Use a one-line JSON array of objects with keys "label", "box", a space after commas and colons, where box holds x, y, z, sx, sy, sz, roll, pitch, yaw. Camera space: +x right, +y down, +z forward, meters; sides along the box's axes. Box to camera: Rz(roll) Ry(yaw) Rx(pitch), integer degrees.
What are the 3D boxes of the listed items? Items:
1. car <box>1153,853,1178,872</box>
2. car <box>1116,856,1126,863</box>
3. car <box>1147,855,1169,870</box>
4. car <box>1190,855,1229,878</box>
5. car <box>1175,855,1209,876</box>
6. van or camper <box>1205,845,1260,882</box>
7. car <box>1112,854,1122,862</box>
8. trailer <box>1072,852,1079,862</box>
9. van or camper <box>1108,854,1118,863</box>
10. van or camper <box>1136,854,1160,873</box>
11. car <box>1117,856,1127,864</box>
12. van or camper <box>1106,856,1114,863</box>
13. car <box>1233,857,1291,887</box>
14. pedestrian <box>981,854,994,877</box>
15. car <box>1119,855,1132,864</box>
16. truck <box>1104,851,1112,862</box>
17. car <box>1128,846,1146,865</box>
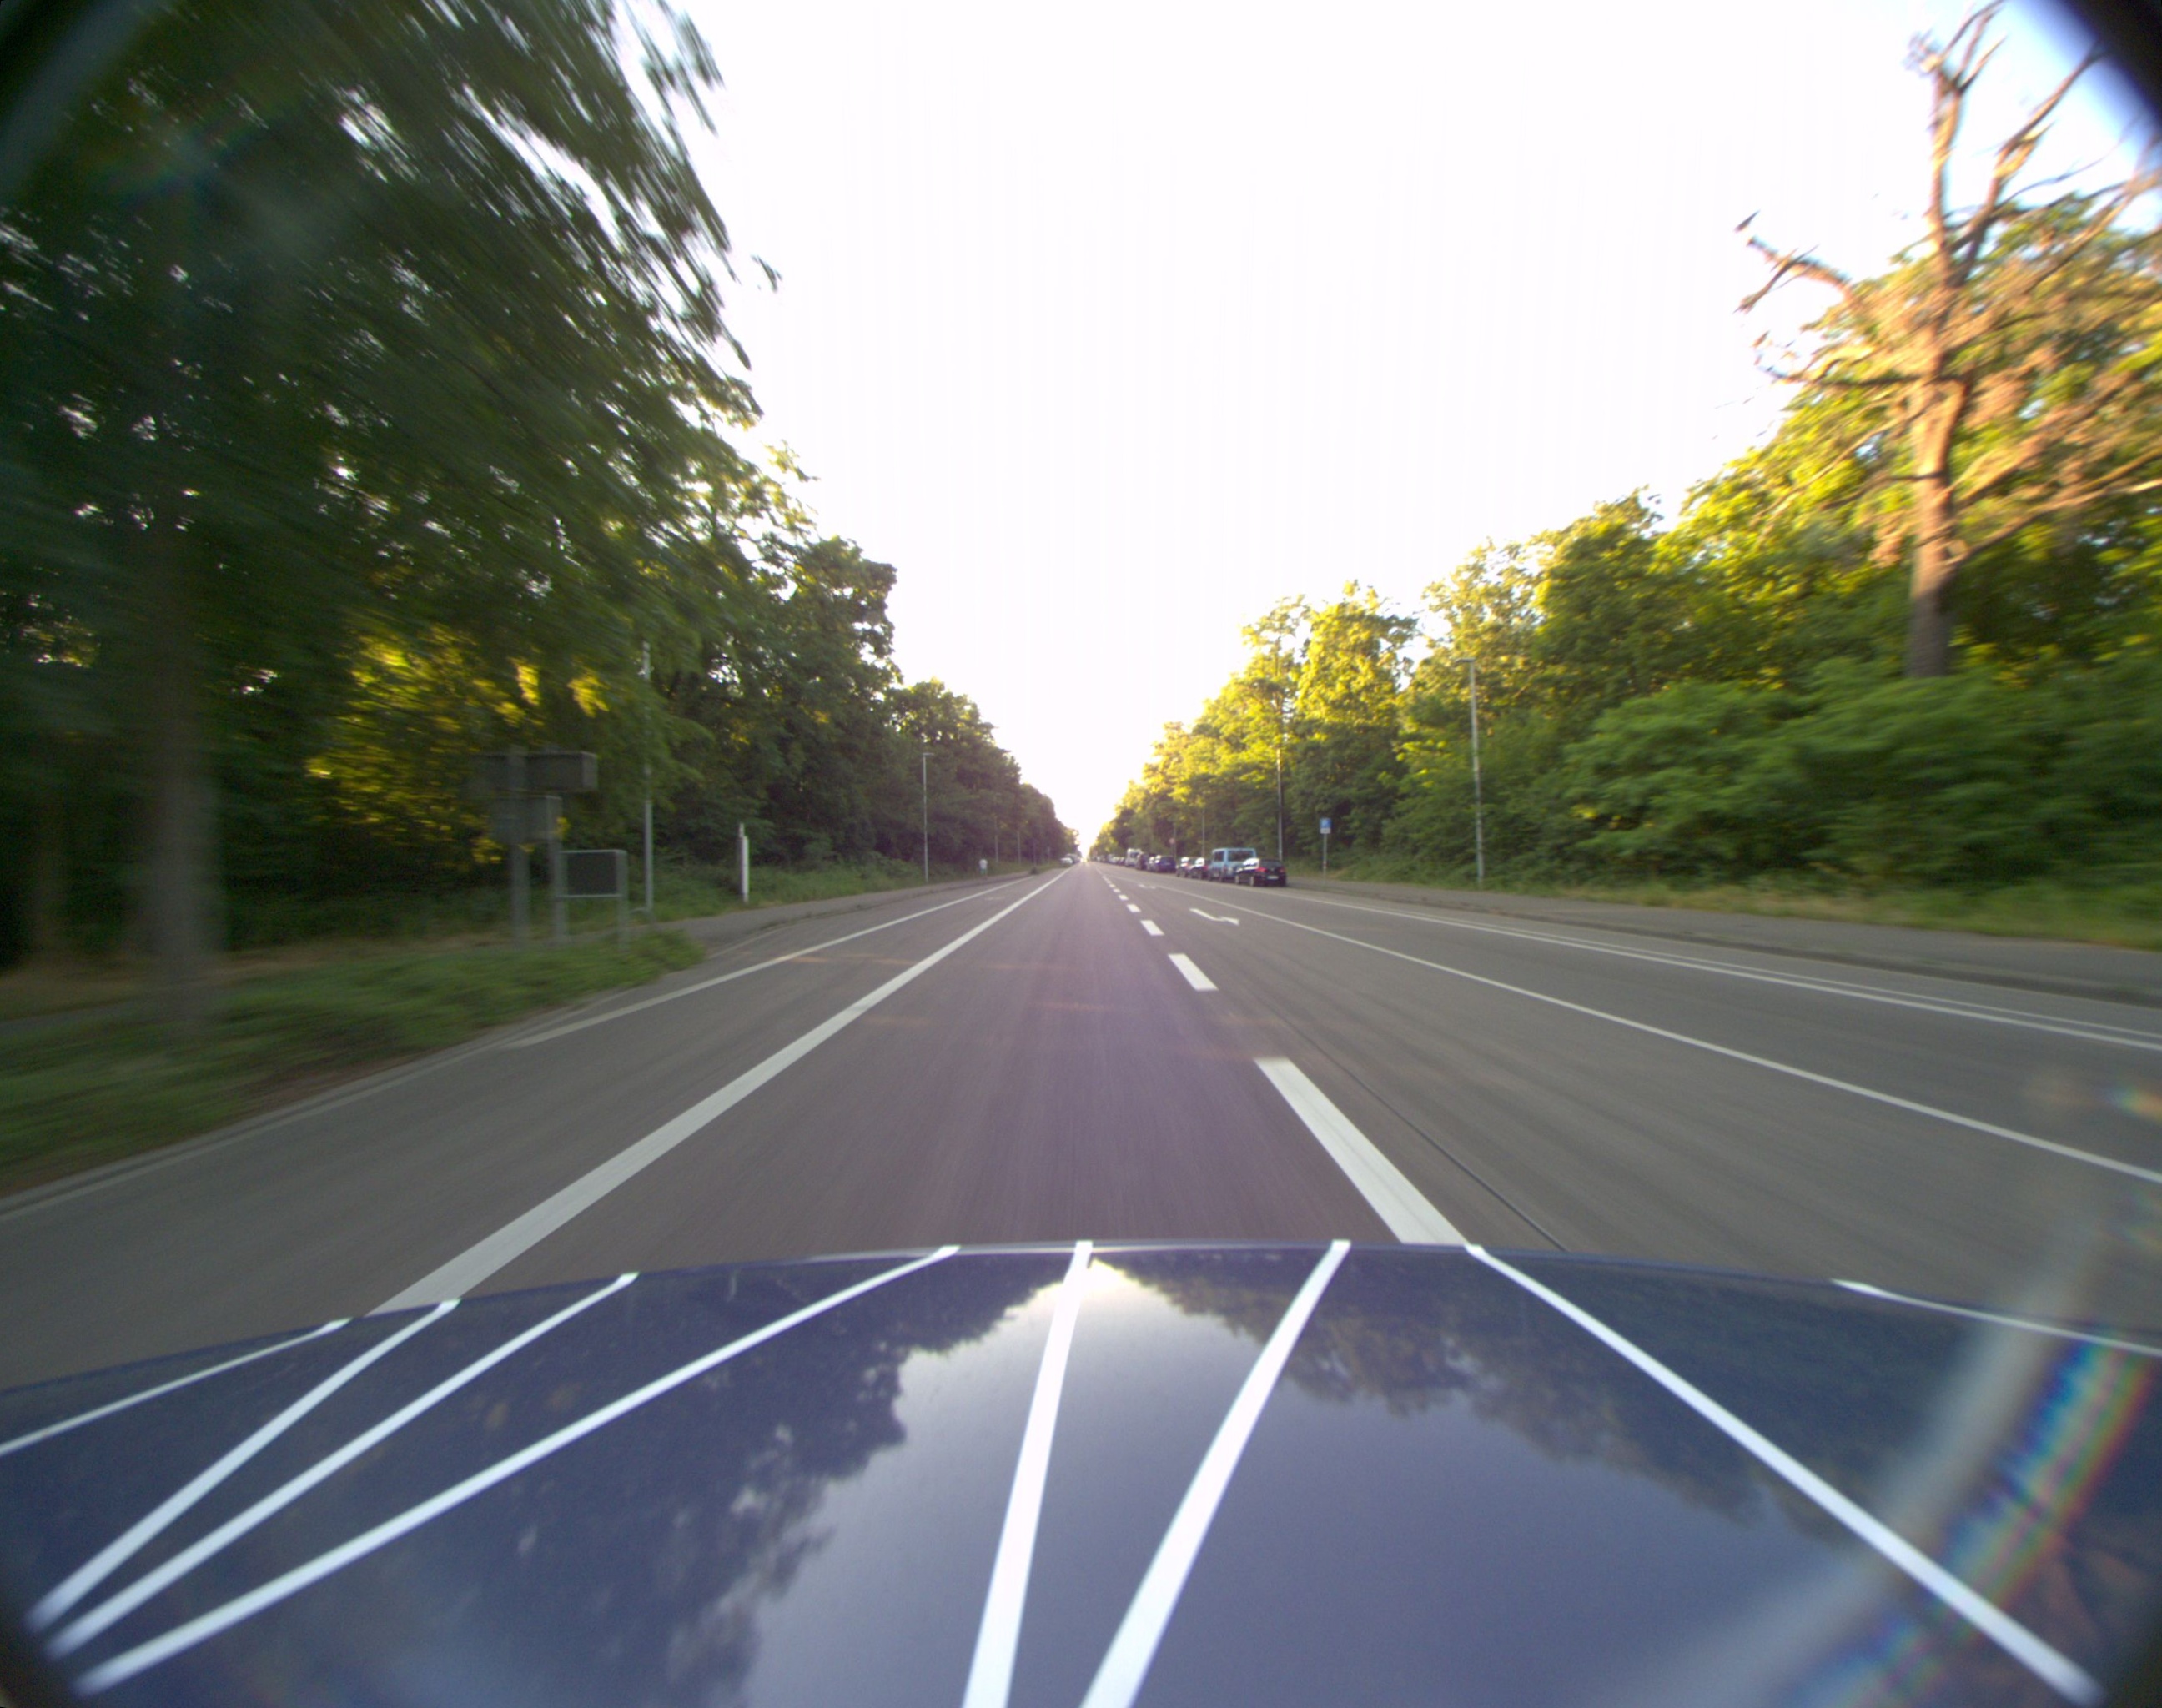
[{"label": "car", "box": [7.779, 0.730, 70.221, 1.749, 1.702, 4.522, 0, 0, -1]}, {"label": "car", "box": [7.794, 1.137, 148.608, 1.601, 1.386, 4.052, 0, 0, 0]}, {"label": "car", "box": [7.586, 0.810, 75.192, 1.673, 1.492, 4.245, 0, 0, -1]}, {"label": "car", "box": [8.566, 0.823, 50.980, 1.547, 1.484, 3.970, 0, 0, -6]}, {"label": "car", "box": [8.148, 0.815, 56.203, 1.621, 1.525, 4.038, 0, 0, -5]}, {"label": "van or camper", "box": [8.966, 0.542, 45.440, 2.037, 2.082, 5.012, 0, 0, -3]}, {"label": "car", "box": [7.839, 0.835, 165.837, 1.699, 1.636, 4.572, 0, 0, -2]}, {"label": "trailer", "box": [-1.581, 0.942, 212.418, 1.866, 2.633, 4.270, -3, 0, 0]}, {"label": "van or camper", "box": [8.082, 1.177, 194.017, 2.116, 2.376, 6.381, 2, 0, -1]}, {"label": "van or camper", "box": [7.525, 1.025, 85.346, 2.008, 2.006, 5.460, 1, 0, -2]}, {"label": "car", "box": [7.758, 1.122, 143.015, 1.716, 1.500, 3.657, 1, 0, 0]}, {"label": "van or camper", "box": [8.129, 1.523, 213.451, 2.034, 1.945, 4.692, 2, -1, -2]}, {"label": "car", "box": [9.405, 0.897, 39.790, 1.692, 1.453, 4.241, 0, 0, -5]}, {"label": "pedestrian", "box": [-7.259, 0.891, 58.958, 0.840, 1.741, 0.726, -2, 0, 1]}, {"label": "car", "box": [7.790, 0.981, 132.592, 1.850, 1.454, 4.229, 1, -1, -2]}, {"label": "truck", "box": [8.045, 0.696, 226.819, 2.226, 3.188, 6.271, 2, -1, -1]}, {"label": "car", "box": [7.981, 0.278, 109.271, 2.084, 2.591, 7.089, 2, 0, 0]}]
